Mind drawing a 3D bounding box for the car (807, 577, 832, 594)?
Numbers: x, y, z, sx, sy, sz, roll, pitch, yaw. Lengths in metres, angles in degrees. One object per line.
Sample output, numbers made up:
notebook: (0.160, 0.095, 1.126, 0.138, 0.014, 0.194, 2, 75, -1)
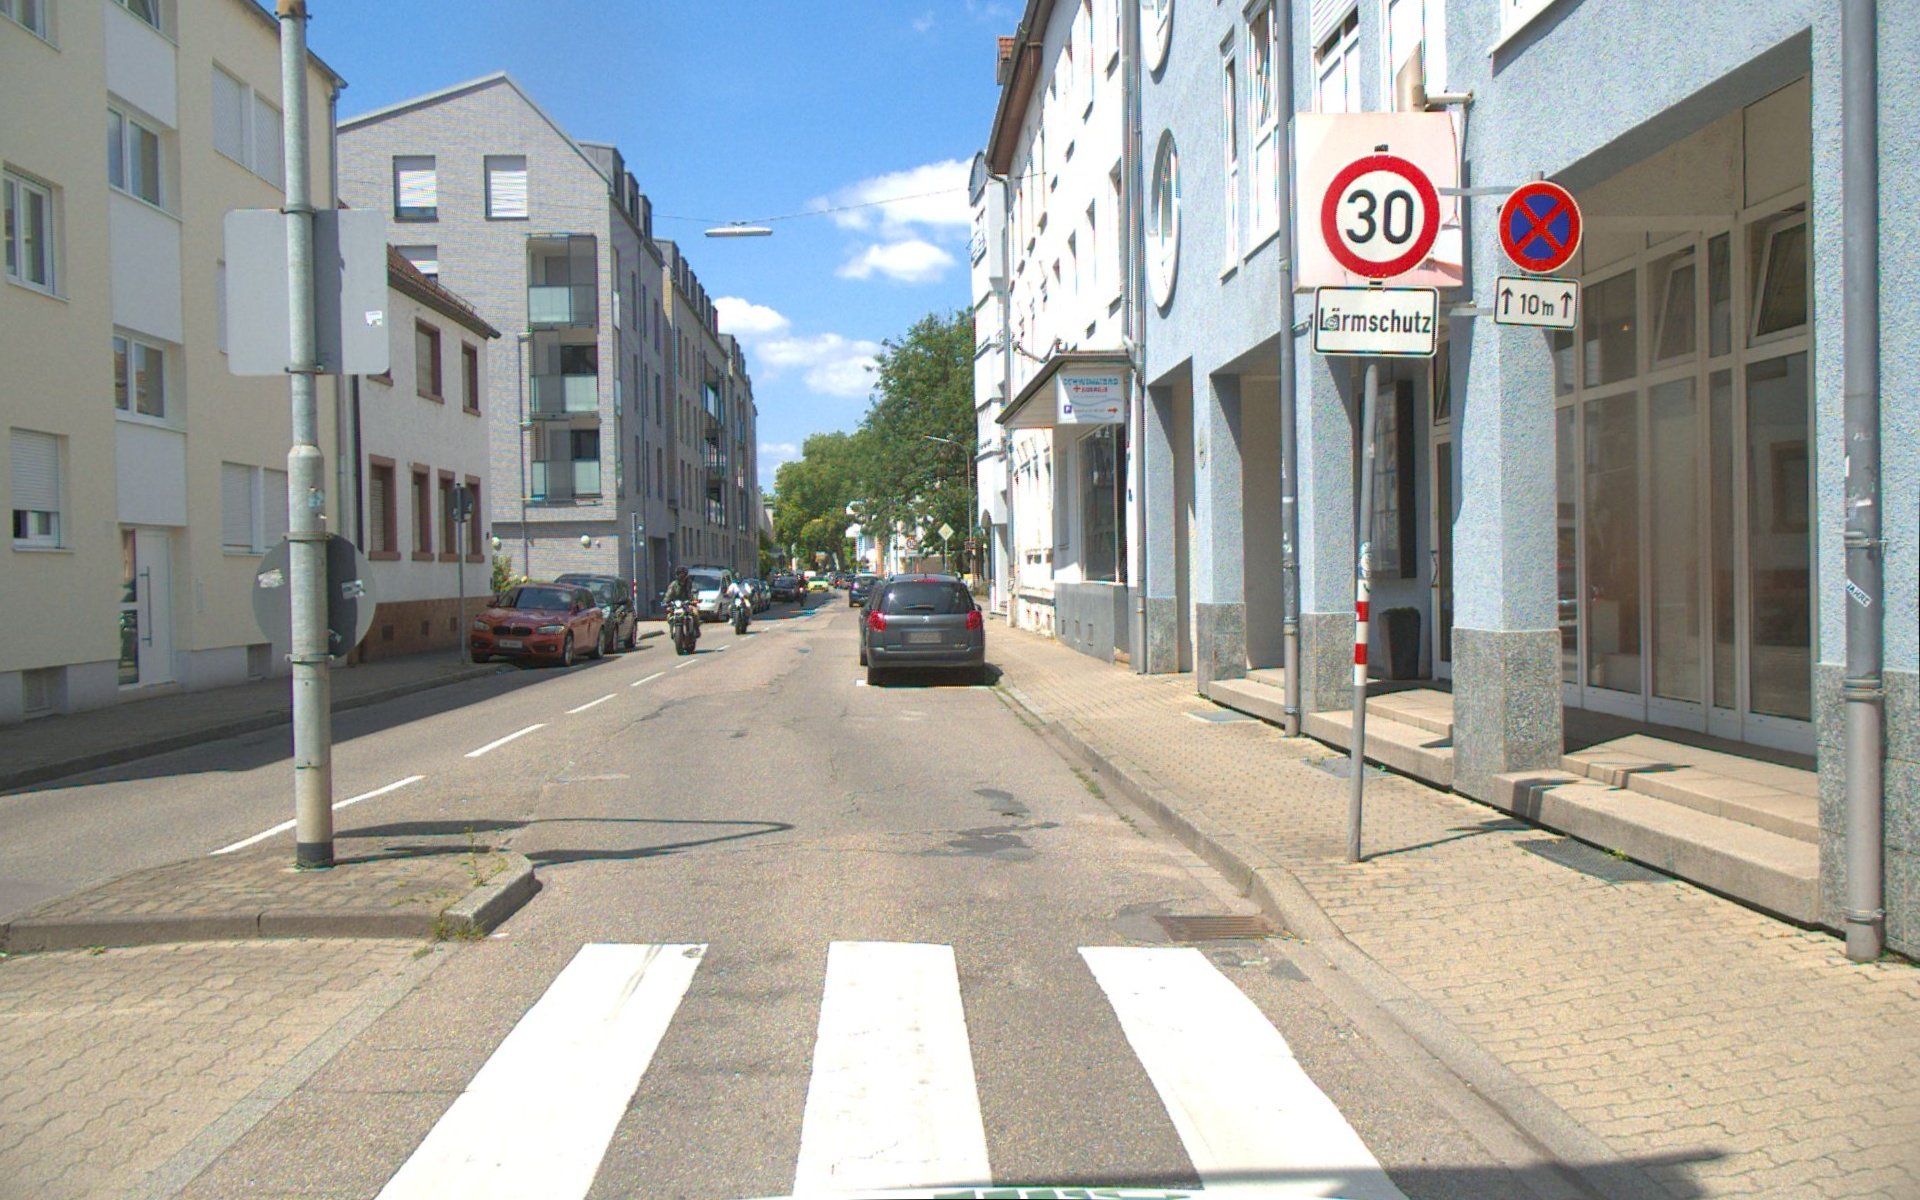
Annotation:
car: (-12.277, -1.269, 144.714, 1.953, 1.405, 4.392, 1, 1, -1)

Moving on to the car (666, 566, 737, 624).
car: (-9.153, -0.203, 58.876, 1.721, 1.925, 4.337, 1, 1, 1)

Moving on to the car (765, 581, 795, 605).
car: (-11.599, -0.476, 106.628, 1.698, 1.467, 3.997, -1, 1, -4)

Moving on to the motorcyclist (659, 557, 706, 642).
motorcyclist: (-5.586, -0.016, 33.363, 0.698, 1.663, 1.069, -2, 1, 1)

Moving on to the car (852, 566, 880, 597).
car: (-6.454, -1.293, 113.976, 1.802, 2.048, 3.998, -1, 1, -3)

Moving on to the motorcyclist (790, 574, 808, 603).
motorcyclist: (-8.477, -0.606, 87.169, 0.806, 1.535, 1.056, -1, 1, -2)

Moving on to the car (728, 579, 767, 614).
car: (-9.868, -0.194, 76.960, 1.559, 1.581, 3.568, -1, 1, -4)

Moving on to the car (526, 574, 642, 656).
car: (-8.129, 0.287, 36.049, 1.758, 1.675, 3.943, 0, 1, -2)

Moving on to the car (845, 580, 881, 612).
car: (-4.714, -0.226, 80.462, 1.681, 1.426, 3.998, -1, 1, -3)

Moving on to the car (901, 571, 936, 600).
car: (-2.258, -0.779, 89.687, 1.659, 1.444, 3.997, -4, 1, -4)

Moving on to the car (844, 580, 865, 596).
car: (-10.985, -1.266, 171.888, 1.956, 1.646, 3.993, -1, 1, -8)

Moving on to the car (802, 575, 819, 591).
car: (-20.664, -2.349, 228.103, 2.116, 2.049, 3.993, -1, 1, -8)

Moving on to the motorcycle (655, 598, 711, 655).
motorcycle: (-5.570, 0.508, 33.356, 0.698, 1.046, 2.240, -2, 1, 1)

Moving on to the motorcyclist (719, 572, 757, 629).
motorcyclist: (-5.953, 0.012, 44.363, 0.898, 1.506, 1.202, -1, 1, -3)

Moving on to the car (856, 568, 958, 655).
car: (-1.012, 0.168, 30.135, 1.695, 1.445, 4.542, -1, 1, -3)

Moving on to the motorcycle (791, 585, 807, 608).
motorcycle: (-8.508, -0.195, 87.319, 0.674, 1.142, 2.027, -1, 1, -2)

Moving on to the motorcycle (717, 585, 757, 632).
motorcycle: (-5.970, 0.213, 44.395, 0.878, 1.196, 2.207, -1, 1, -3)

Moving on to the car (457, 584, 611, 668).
car: (-7.907, 0.436, 31.093, 1.796, 1.441, 4.289, -1, 1, -1)

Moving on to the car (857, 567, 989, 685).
car: (-0.617, 0.325, 24.158, 1.676, 1.534, 3.996, -1, 1, -5)

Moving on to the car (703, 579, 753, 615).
car: (-9.960, -0.151, 71.218, 1.688, 1.481, 4.004, 0, 1, -2)
